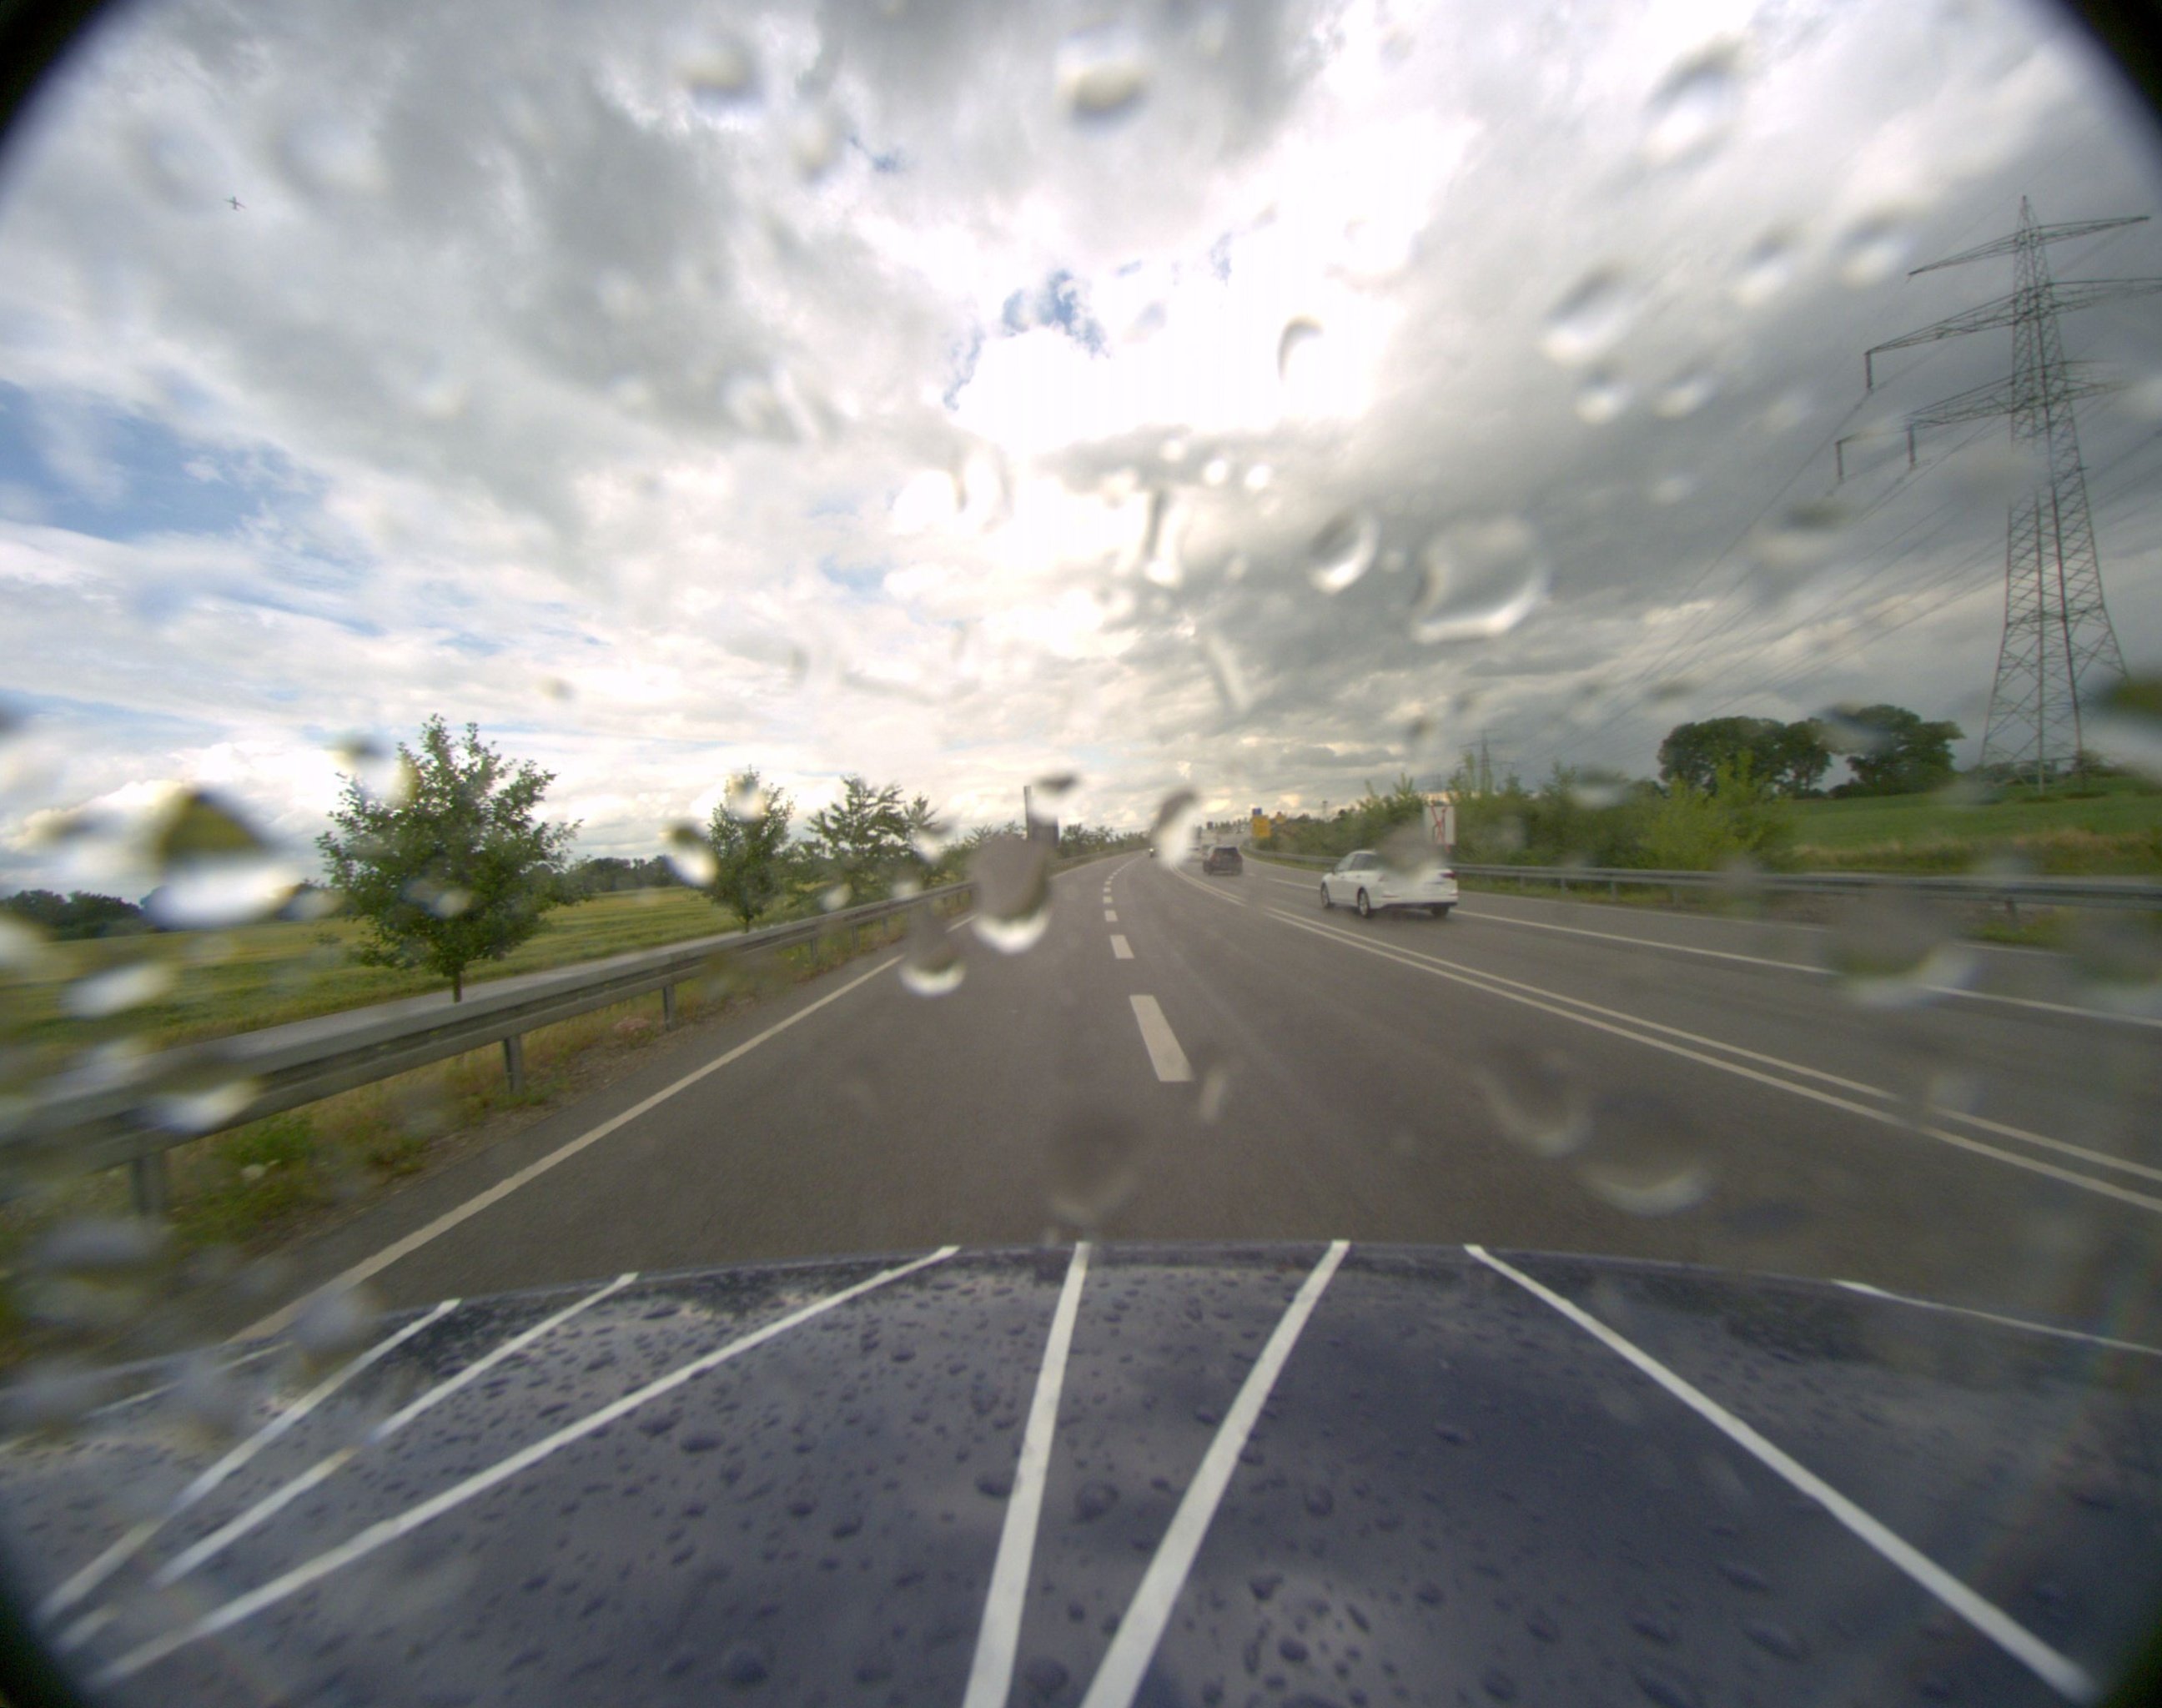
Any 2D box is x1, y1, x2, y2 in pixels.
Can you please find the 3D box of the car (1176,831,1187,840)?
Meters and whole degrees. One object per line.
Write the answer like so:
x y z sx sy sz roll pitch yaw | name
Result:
17.263 -3.135 130.273 1.747 1.488 4.052 -3 1 10 | car

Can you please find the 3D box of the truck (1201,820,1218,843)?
18.375 -3.253 108.824 2.260 3.138 6.692 -1 2 9 | truck

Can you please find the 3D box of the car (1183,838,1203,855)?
10.381 -0.728 70.352 1.682 1.449 4.077 -2 1 10 | car

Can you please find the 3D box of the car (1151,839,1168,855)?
9.200 -0.844 89.094 1.795 1.758 4.001 -3 1 6 | car

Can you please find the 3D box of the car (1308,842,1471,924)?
6.707 0.525 17.110 1.709 1.471 4.608 -2 2 -1 | car

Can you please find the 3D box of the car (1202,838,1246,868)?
8.070 -0.091 43.061 1.804 1.566 4.259 -1 1 2 | car
